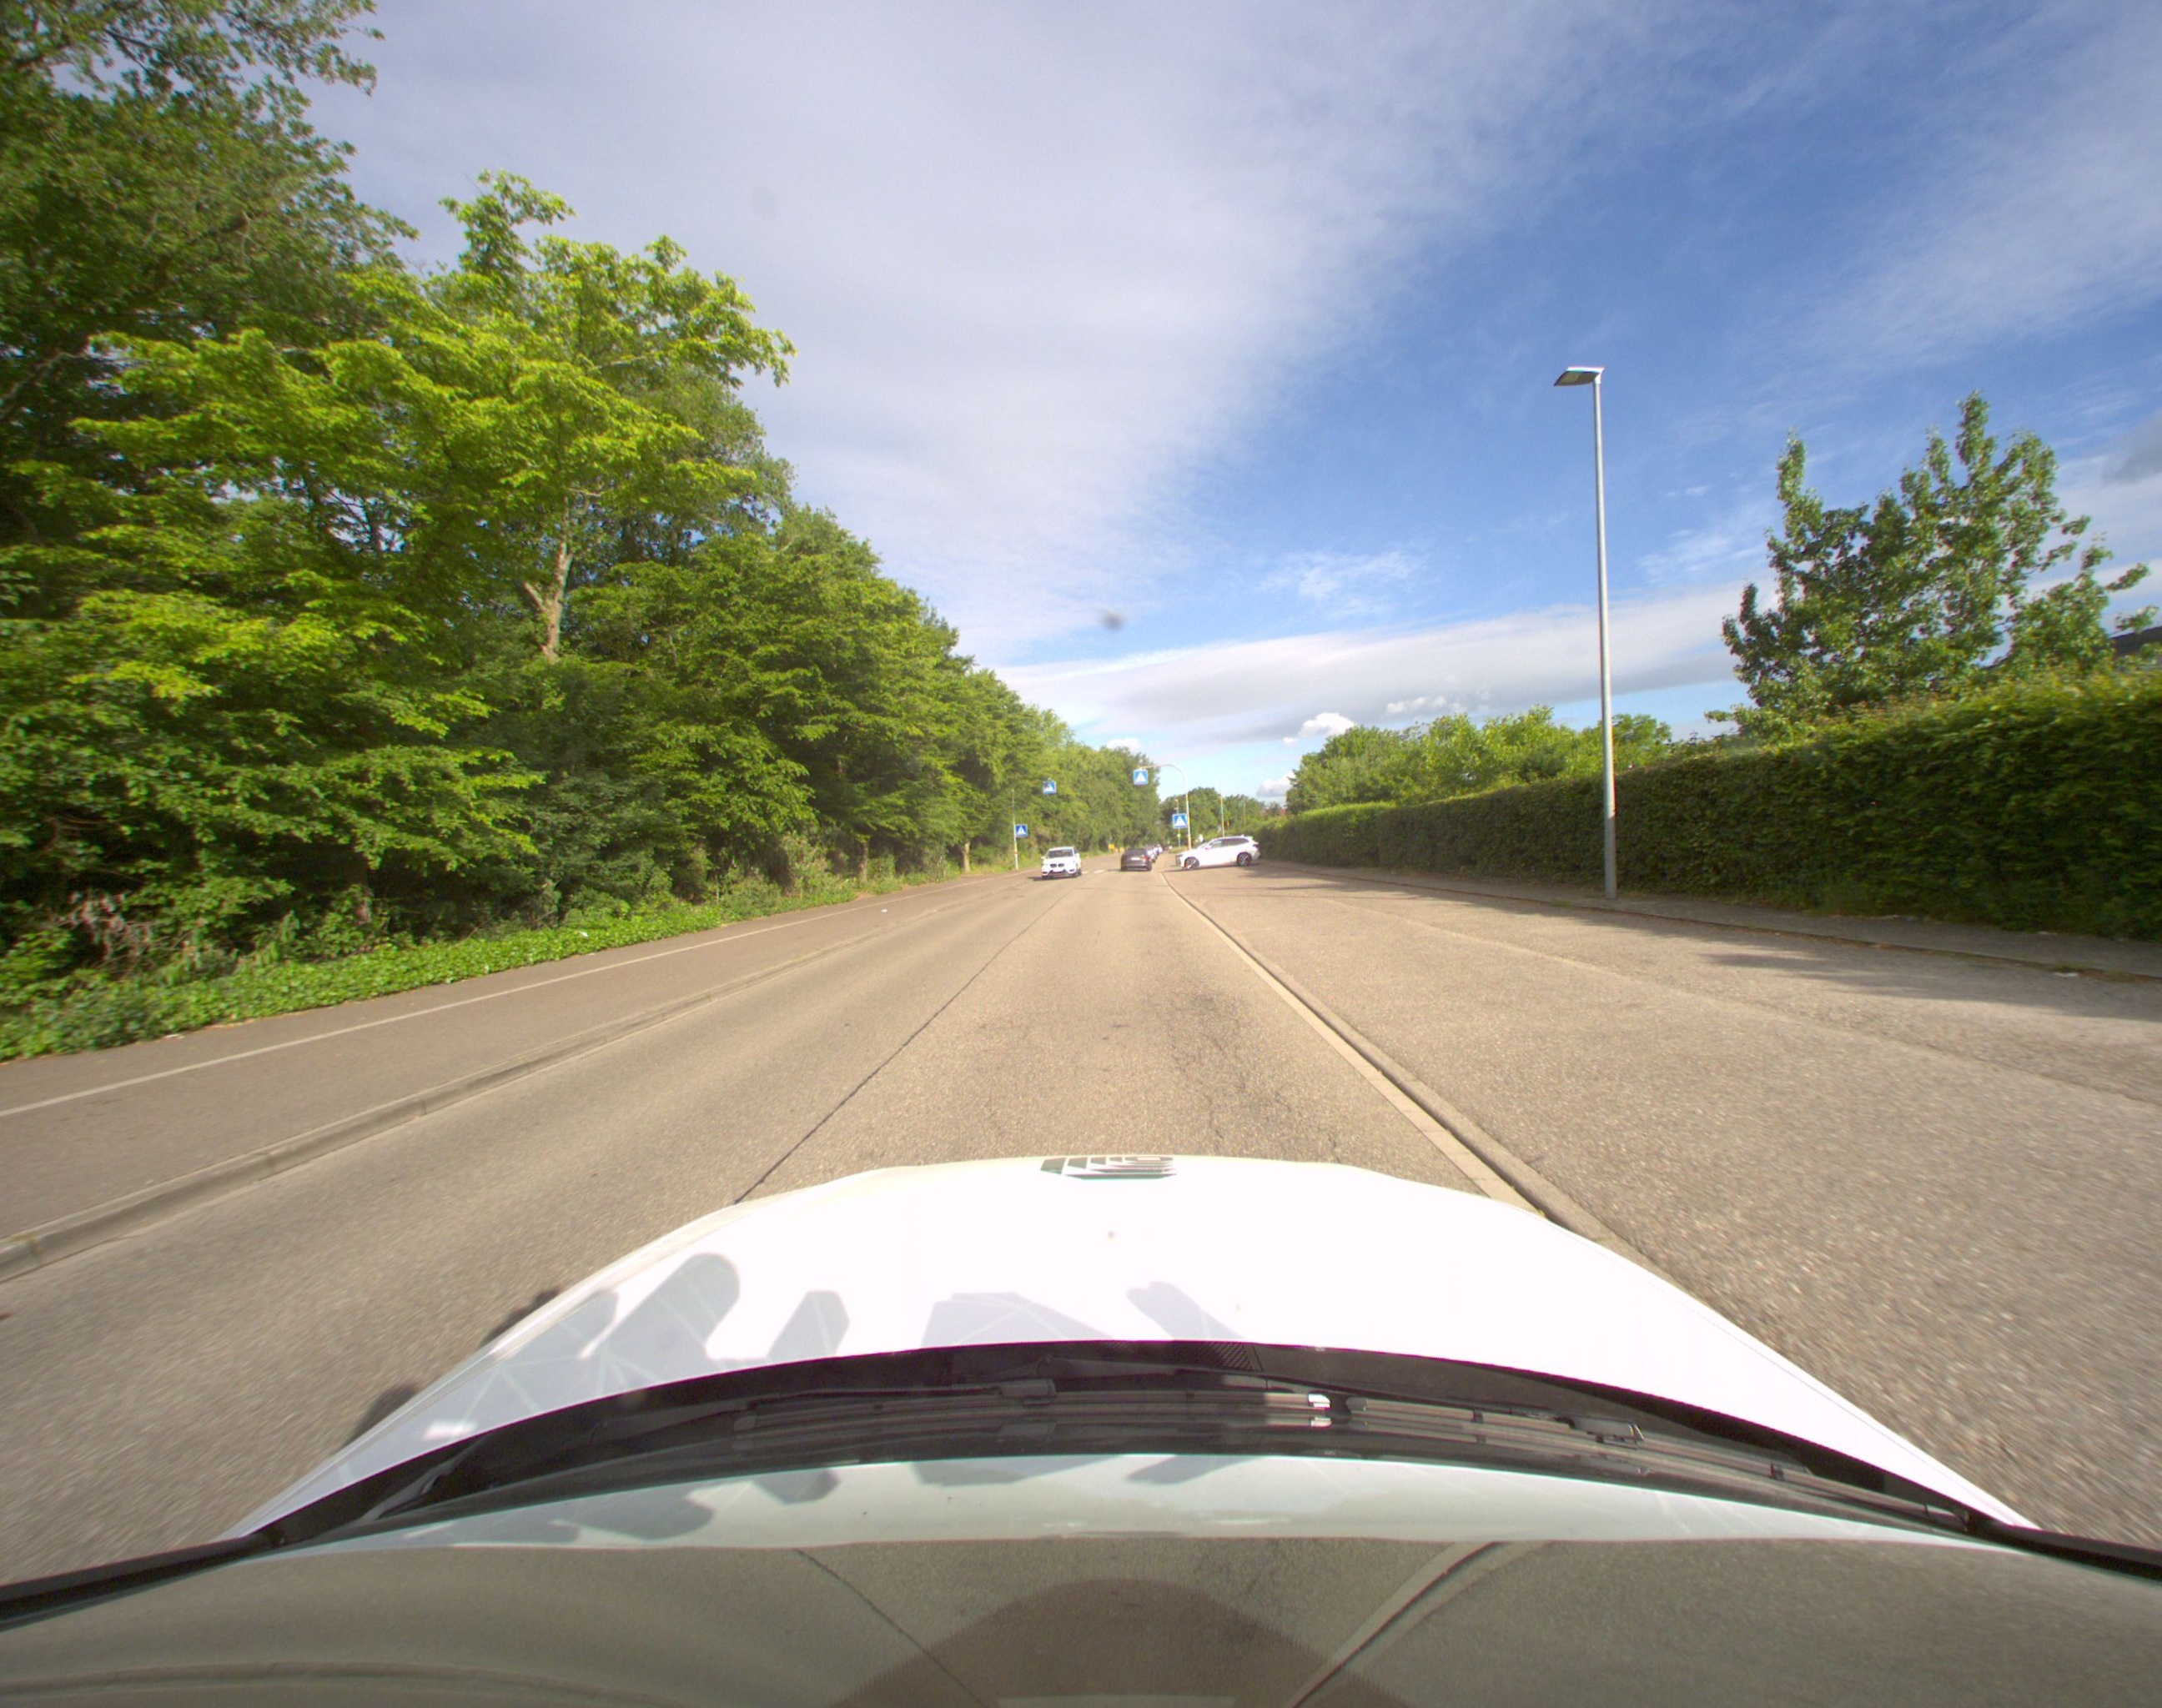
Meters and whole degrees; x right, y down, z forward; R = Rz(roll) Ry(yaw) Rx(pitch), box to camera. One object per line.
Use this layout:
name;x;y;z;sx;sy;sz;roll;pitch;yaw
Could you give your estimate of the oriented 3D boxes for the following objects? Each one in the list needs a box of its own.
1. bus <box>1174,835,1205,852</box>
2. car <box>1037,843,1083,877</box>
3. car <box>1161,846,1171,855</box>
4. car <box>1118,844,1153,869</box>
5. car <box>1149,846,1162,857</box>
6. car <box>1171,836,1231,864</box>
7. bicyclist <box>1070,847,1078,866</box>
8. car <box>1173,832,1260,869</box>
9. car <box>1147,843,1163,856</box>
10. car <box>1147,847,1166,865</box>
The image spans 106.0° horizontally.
bus;19.970;-1.895;150.499;5.342;2.746;2.070;-4;0;3
car;-1.047;0.309;42.733;1.793;1.585;4.108;-4;0;6
car;14.019;-0.570;134.228;1.486;1.366;3.271;-3;0;9
car;3.333;0.137;49.662;1.957;1.434;4.341;-1;0;4
car;9.744;-0.305;106.684;1.487;1.366;3.268;-3;0;6
car;8.234;-0.275;56.132;3.840;1.490;1.694;-6;1;4
bicyclist;-0.659;0.239;73.668;0.605;1.676;0.885;-1;0;7
car;7.475;-0.208;45.106;4.564;1.699;1.766;-4;0;6
car;7.911;-0.472;86.976;1.487;1.304;3.268;-3;0;6
car;6.305;0.174;68.256;1.488;1.366;3.267;-3;0;5
